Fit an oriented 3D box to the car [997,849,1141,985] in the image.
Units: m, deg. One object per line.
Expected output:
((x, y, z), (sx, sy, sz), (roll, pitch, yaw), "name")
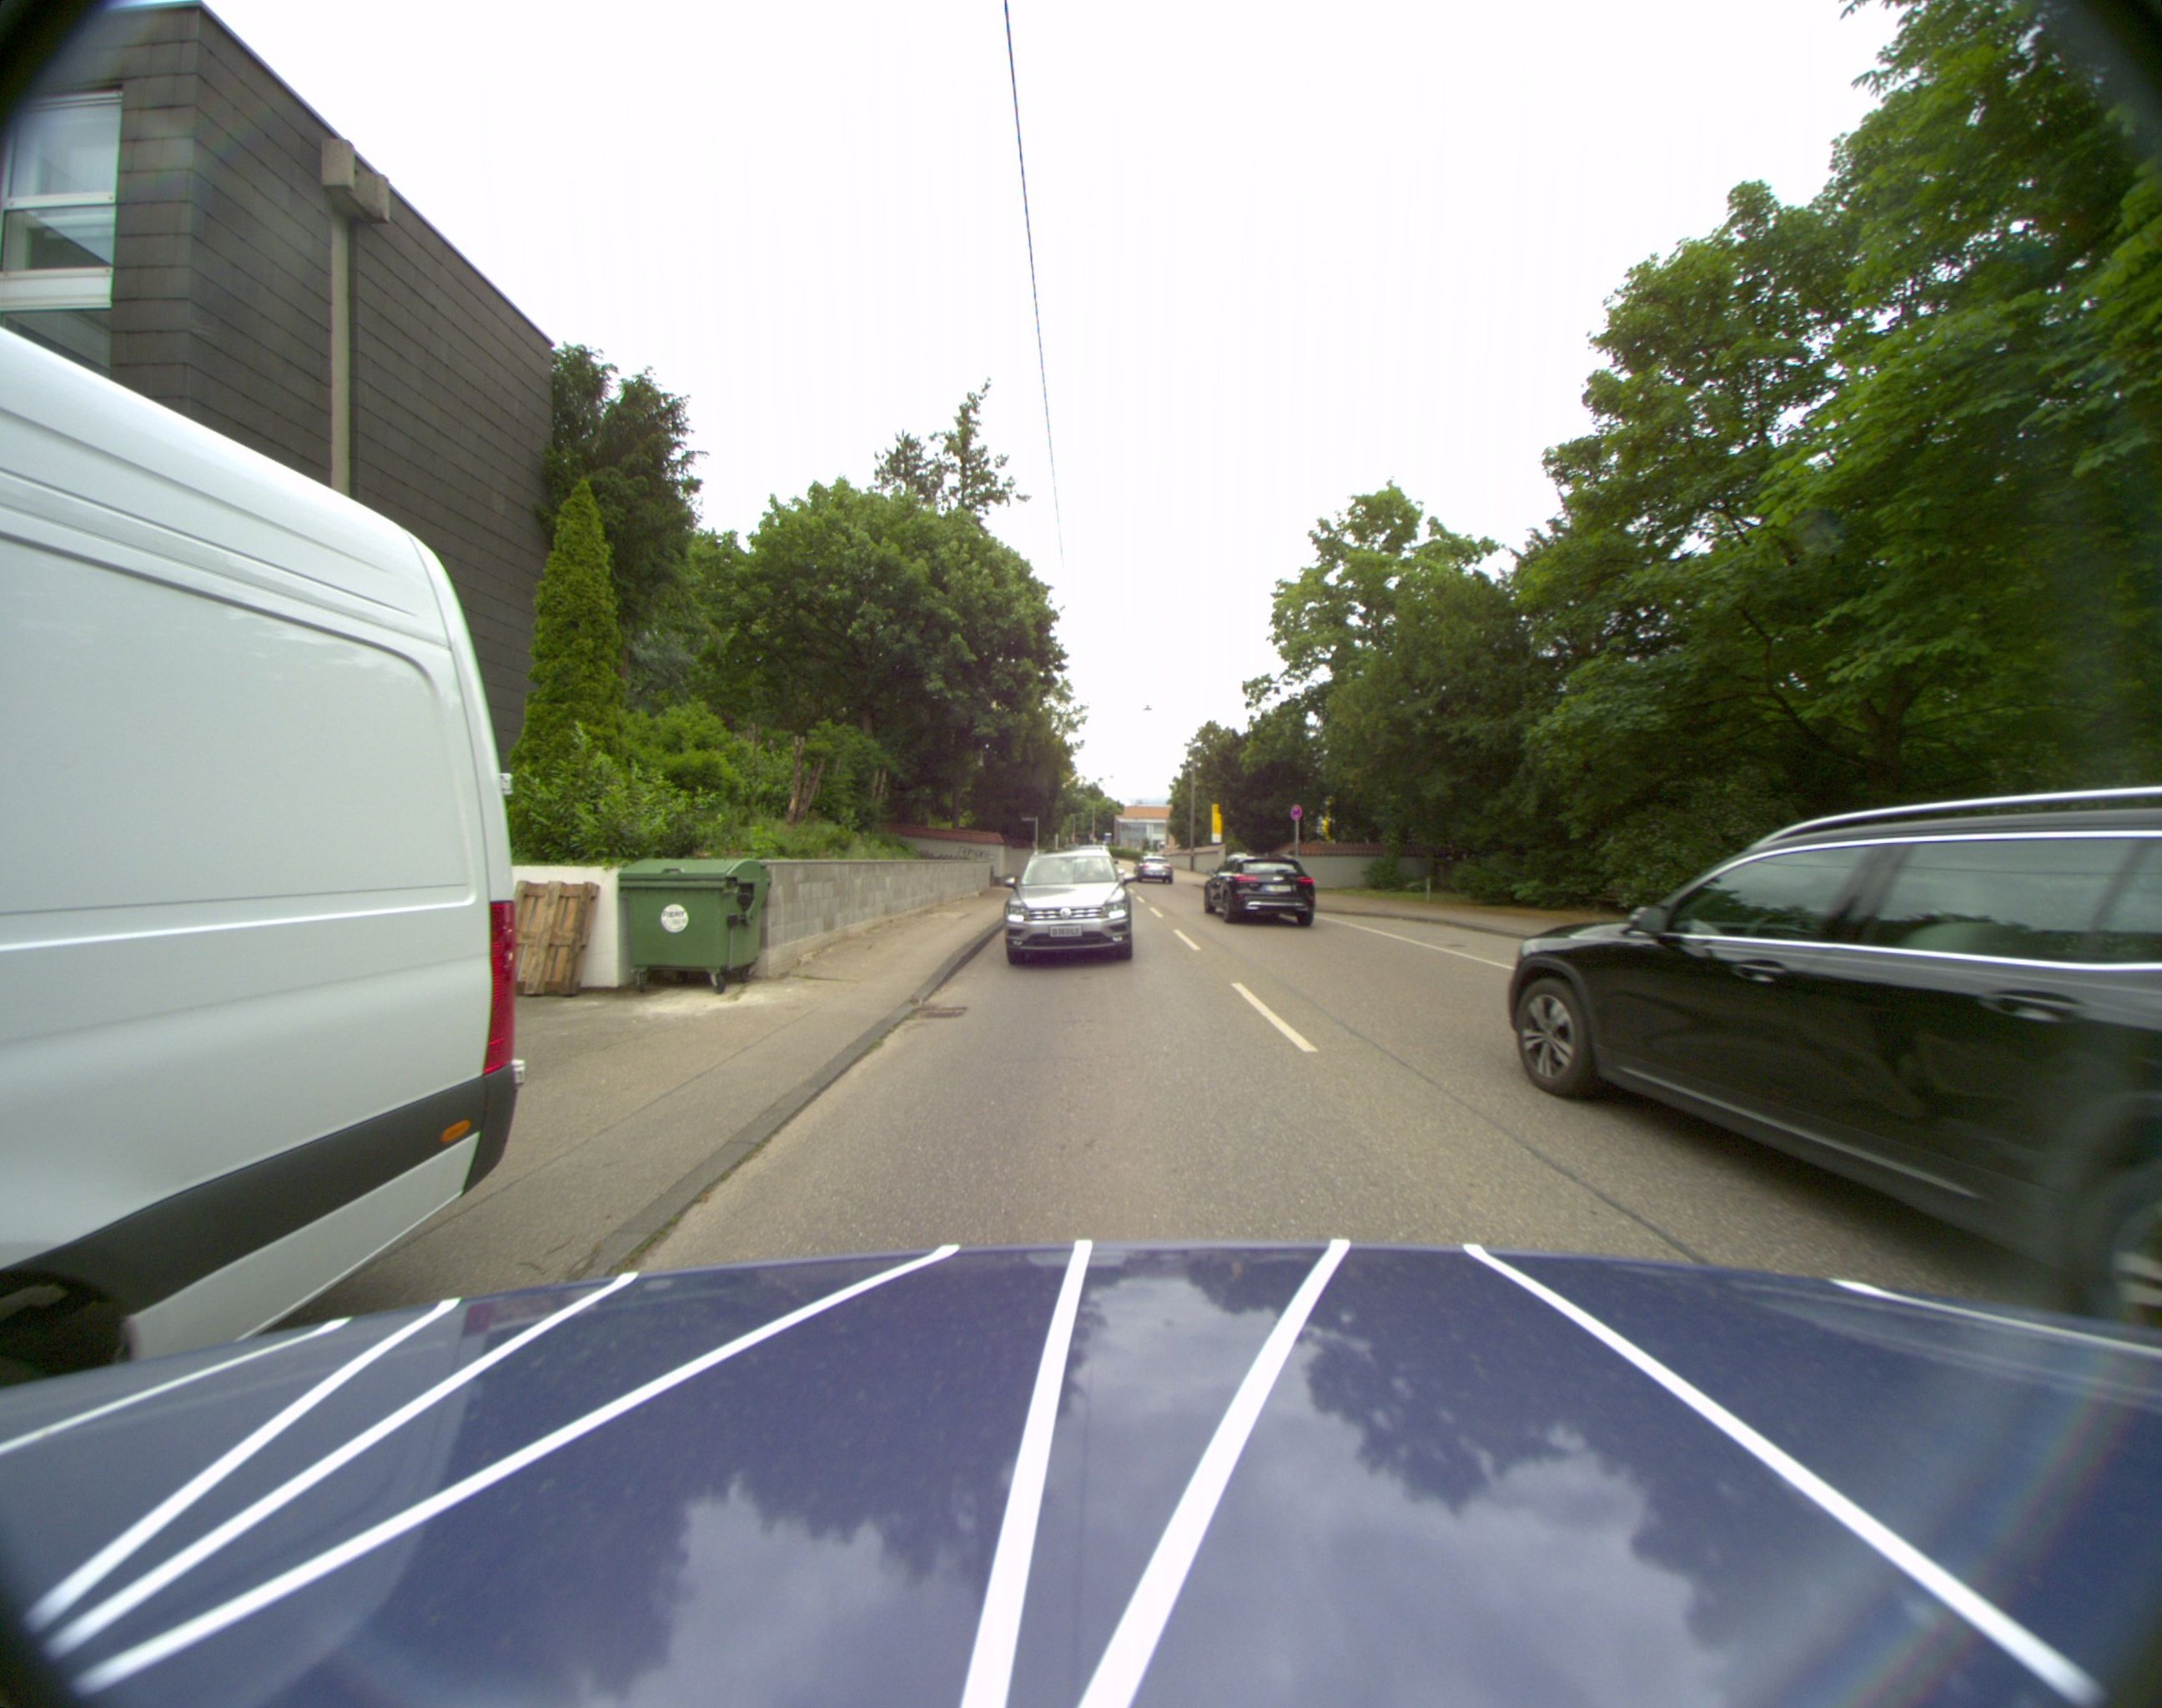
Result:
((-0.143, 0.807, 12.280), (1.820, 1.690, 4.718), (-2, 1, 0), "car")

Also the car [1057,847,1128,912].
((0.315, 0.640, 21.899), (1.820, 1.647, 4.487), (-1, 1, 0), "car")

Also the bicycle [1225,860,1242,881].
((7.749, 0.824, 38.762), (0.496, 0.959, 1.748), (-3, 1, 1), "bicycle")

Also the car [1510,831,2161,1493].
((3.645, 0.784, 2.688), (1.885, 1.635, 4.127), (2, 1, 0), "car")

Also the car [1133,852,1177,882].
((3.877, 0.633, 40.536), (1.761, 1.395, 4.413), (2, 1, -1), "car")

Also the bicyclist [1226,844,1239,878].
((7.719, 0.363, 38.700), (0.489, 1.674, 0.588), (-3, 1, 1), "bicyclist")

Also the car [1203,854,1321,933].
((3.890, 0.782, 17.011), (1.705, 1.475, 3.999), (2, 1, 1), "car")

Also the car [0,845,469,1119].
((-7.156, 0.771, 5.643), (3.909, 1.642, 1.745), (0, 1, 5), "car")

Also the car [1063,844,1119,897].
((0.356, 0.507, 27.440), (1.820, 1.733, 4.487), (-1, 1, 0), "car")

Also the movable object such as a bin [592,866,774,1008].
((-4.356, 0.870, 8.447), (1.407, 1.443, 1.116), (0, 1, 1), "movable object such as a bin")
